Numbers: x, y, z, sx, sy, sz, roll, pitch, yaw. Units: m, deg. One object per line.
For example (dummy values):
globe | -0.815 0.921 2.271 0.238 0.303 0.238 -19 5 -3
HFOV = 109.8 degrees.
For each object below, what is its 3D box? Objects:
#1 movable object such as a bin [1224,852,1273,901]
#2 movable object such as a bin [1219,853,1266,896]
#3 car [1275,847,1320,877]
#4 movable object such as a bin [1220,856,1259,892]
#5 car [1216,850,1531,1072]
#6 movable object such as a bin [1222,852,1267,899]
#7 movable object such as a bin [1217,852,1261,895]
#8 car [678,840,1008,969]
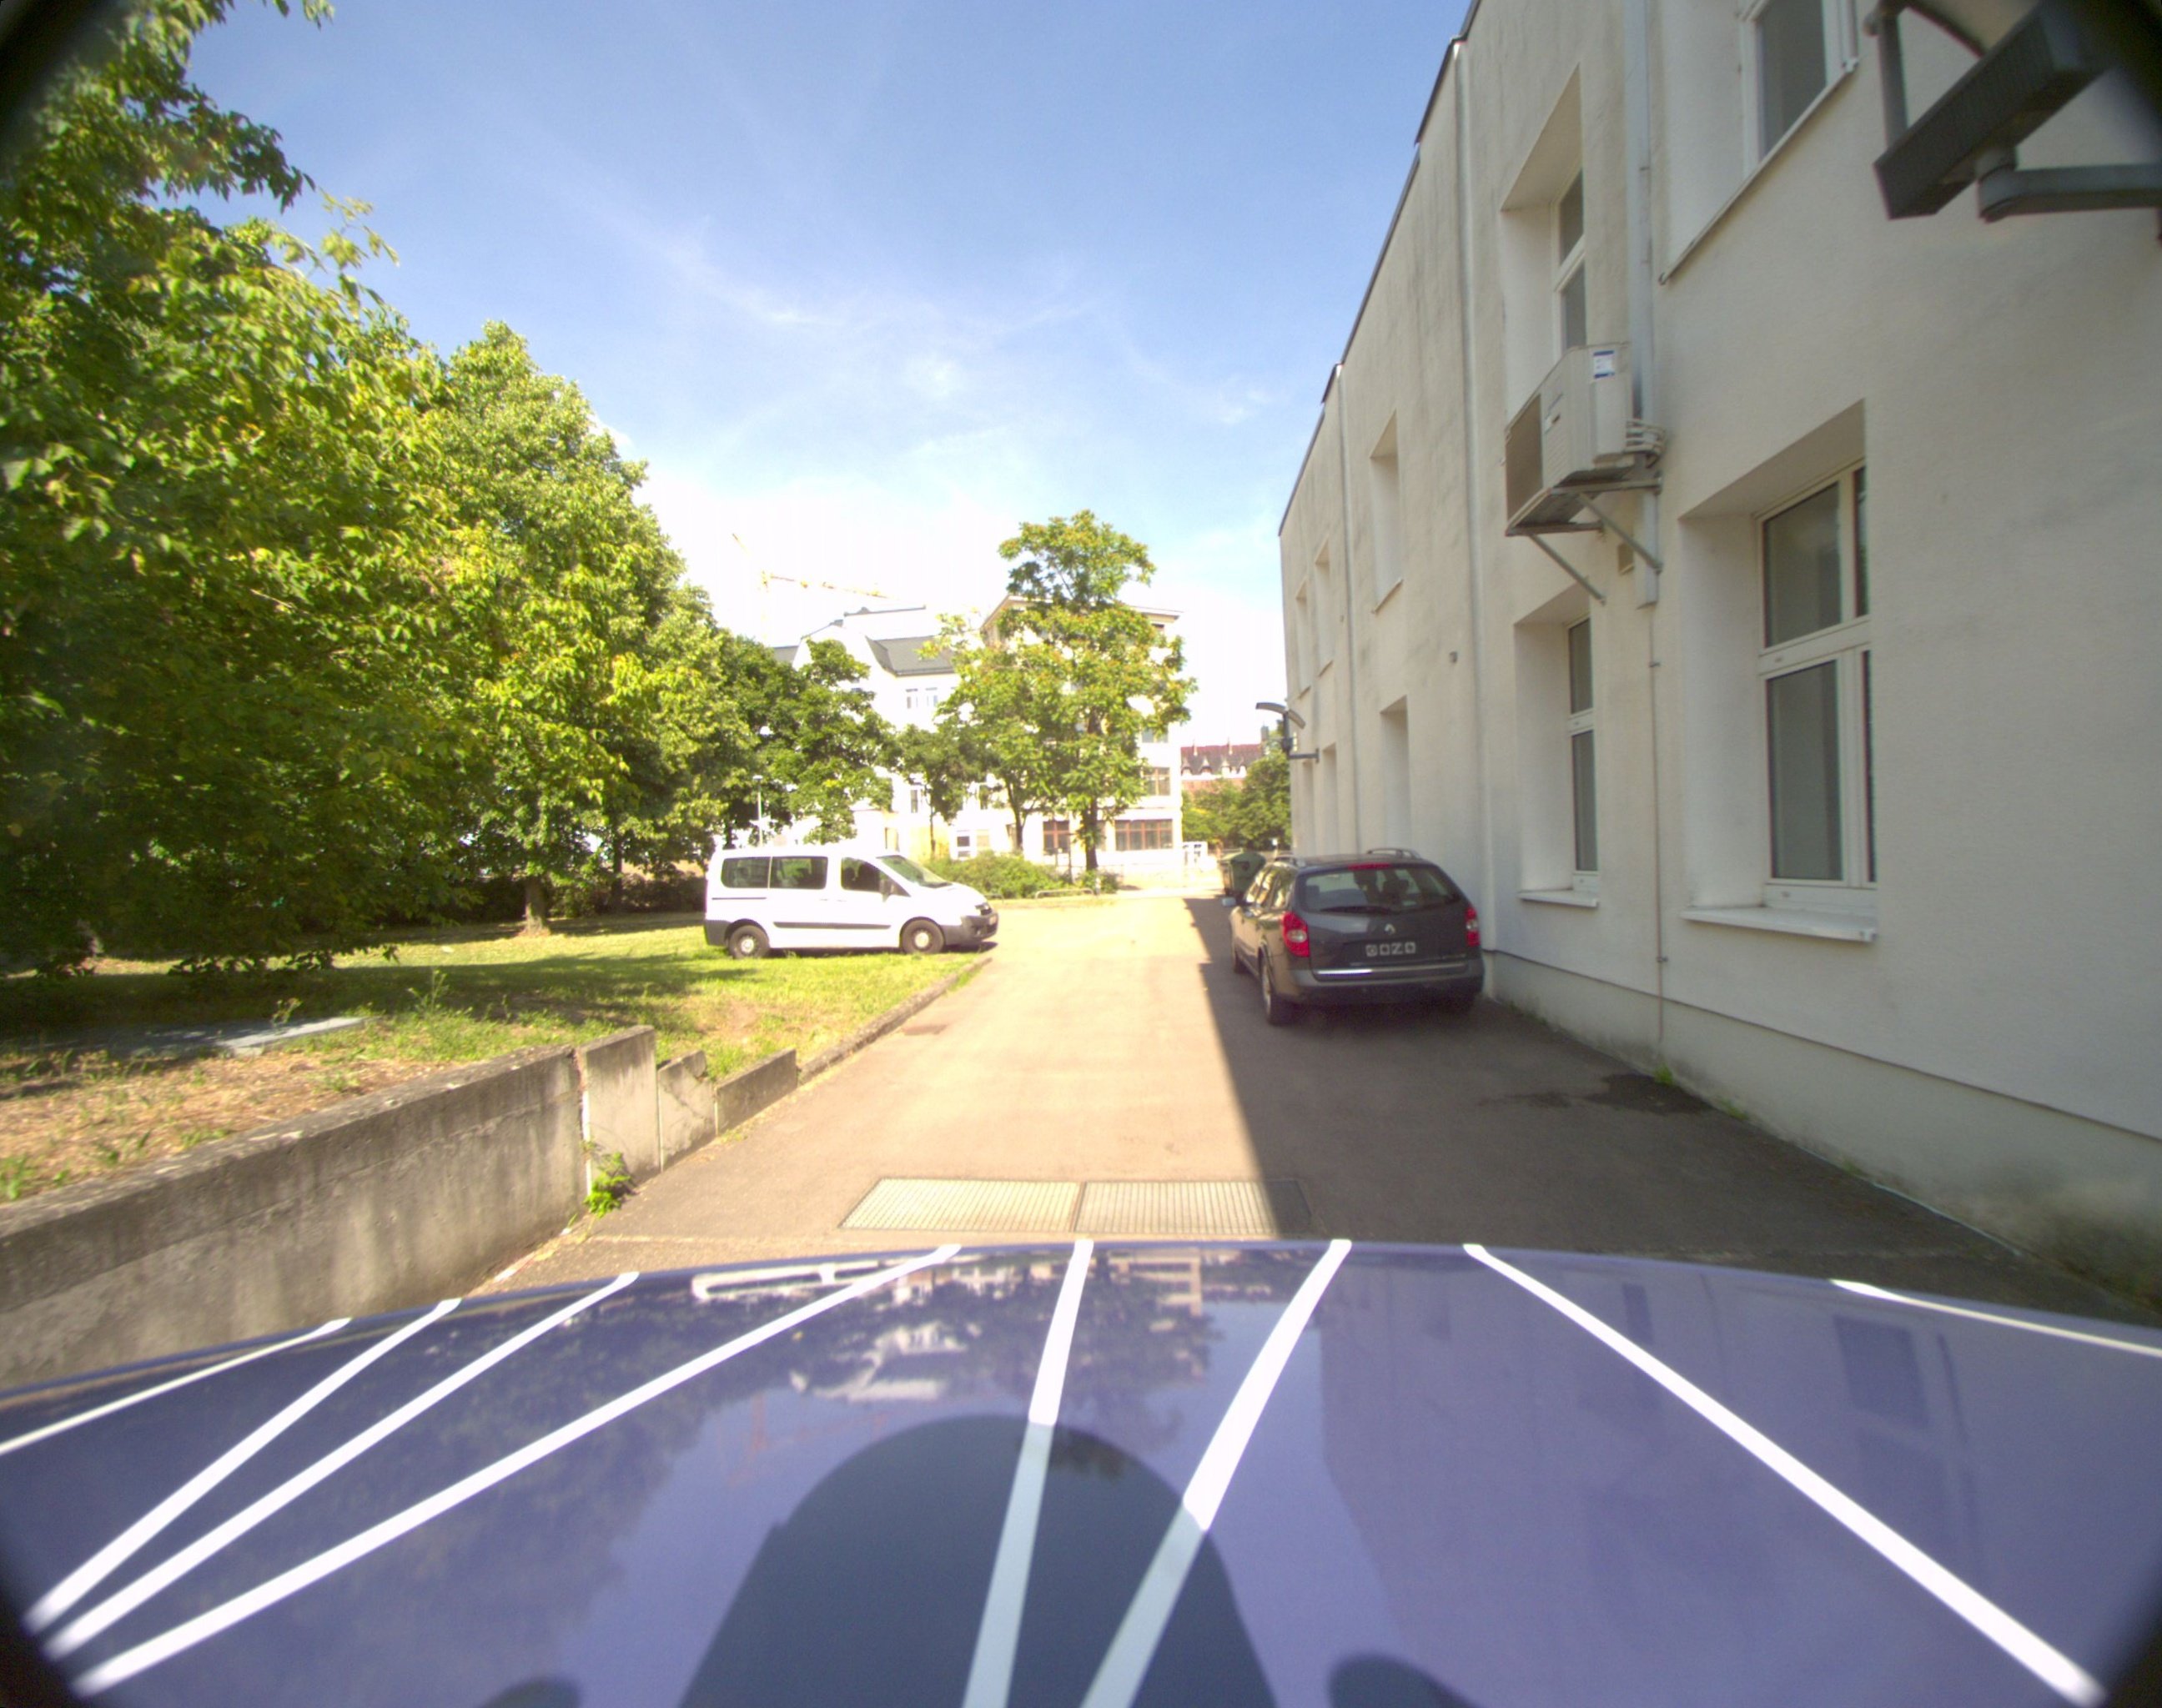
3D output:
movable object such as a bin | 5.089 0.674 23.196 1.247 1.422 1.350 -2 0 6
movable object such as a bin | 5.514 0.691 26.068 1.248 1.422 1.223 -2 0 -5
car | 14.535 0.523 50.878 1.917 1.770 4.320 -4 -1 28
movable object such as a bin | 6.478 0.822 31.008 1.245 1.388 1.406 -2 0 24
car | 2.554 0.801 7.851 1.841 1.434 4.430 -4 1 6
movable object such as a bin | 5.297 0.679 24.695 1.247 1.422 1.366 -2 0 6
movable object such as a bin | 5.693 0.692 27.465 1.247 1.473 1.339 -2 0 1
car | -4.009 0.844 13.244 5.033 1.921 2.001 -2 0 7
